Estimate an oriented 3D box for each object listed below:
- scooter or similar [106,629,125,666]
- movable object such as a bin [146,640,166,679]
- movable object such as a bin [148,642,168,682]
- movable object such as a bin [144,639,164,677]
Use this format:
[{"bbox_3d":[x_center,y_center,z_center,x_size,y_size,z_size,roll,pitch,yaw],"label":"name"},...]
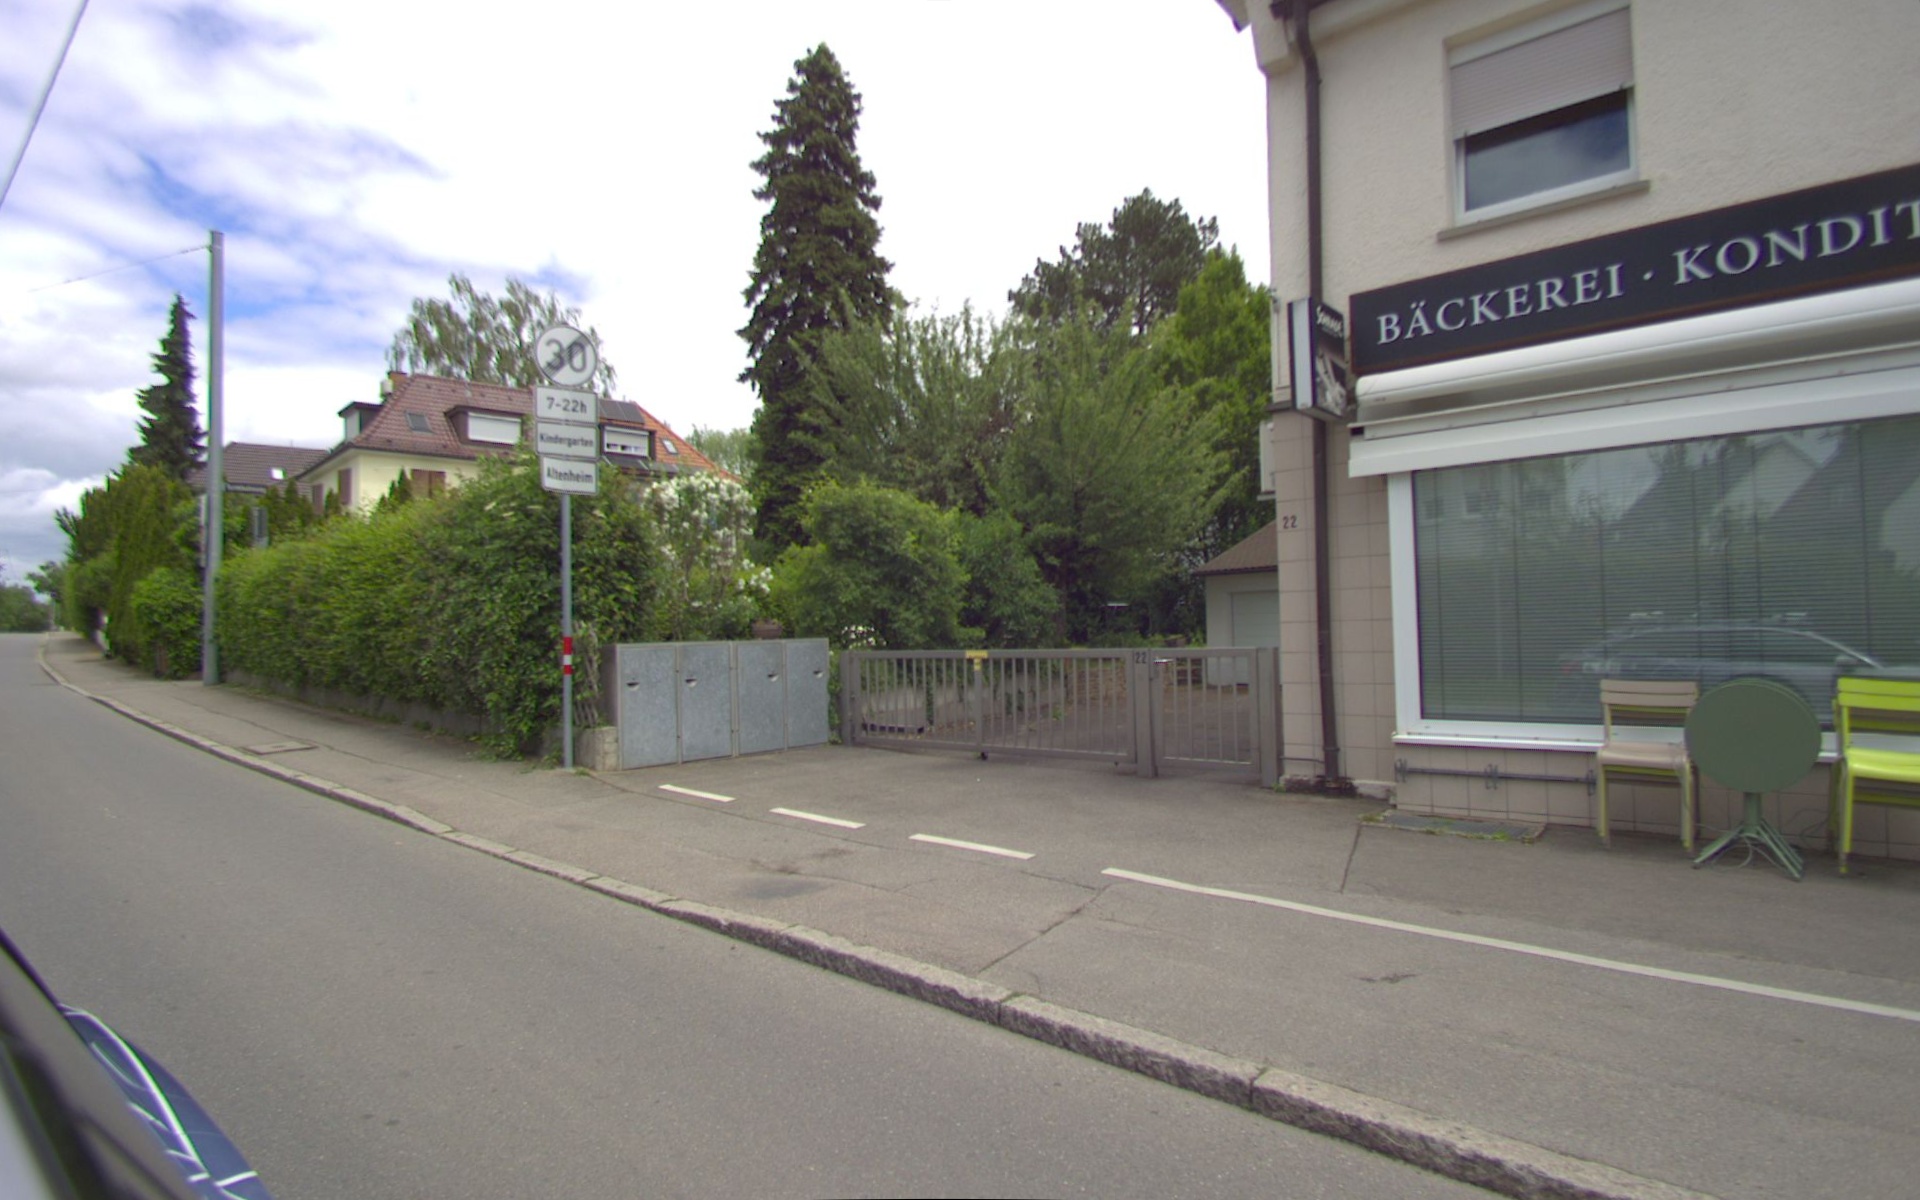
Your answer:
[{"bbox_3d":[-28.264,1.572,33.867,0.387,1.180,1.271,0,-1,-44],"label":"scooter or similar"},{"bbox_3d":[-19.213,1.425,24.186,0.332,0.900,0.476,-1,0,-42],"label":"movable object such as a bin"},{"bbox_3d":[-18.860,1.458,23.800,0.332,0.900,0.476,-1,0,-42],"label":"movable object such as a bin"},{"bbox_3d":[-19.643,1.403,24.656,0.332,0.900,0.476,-1,0,-42],"label":"movable object such as a bin"}]
